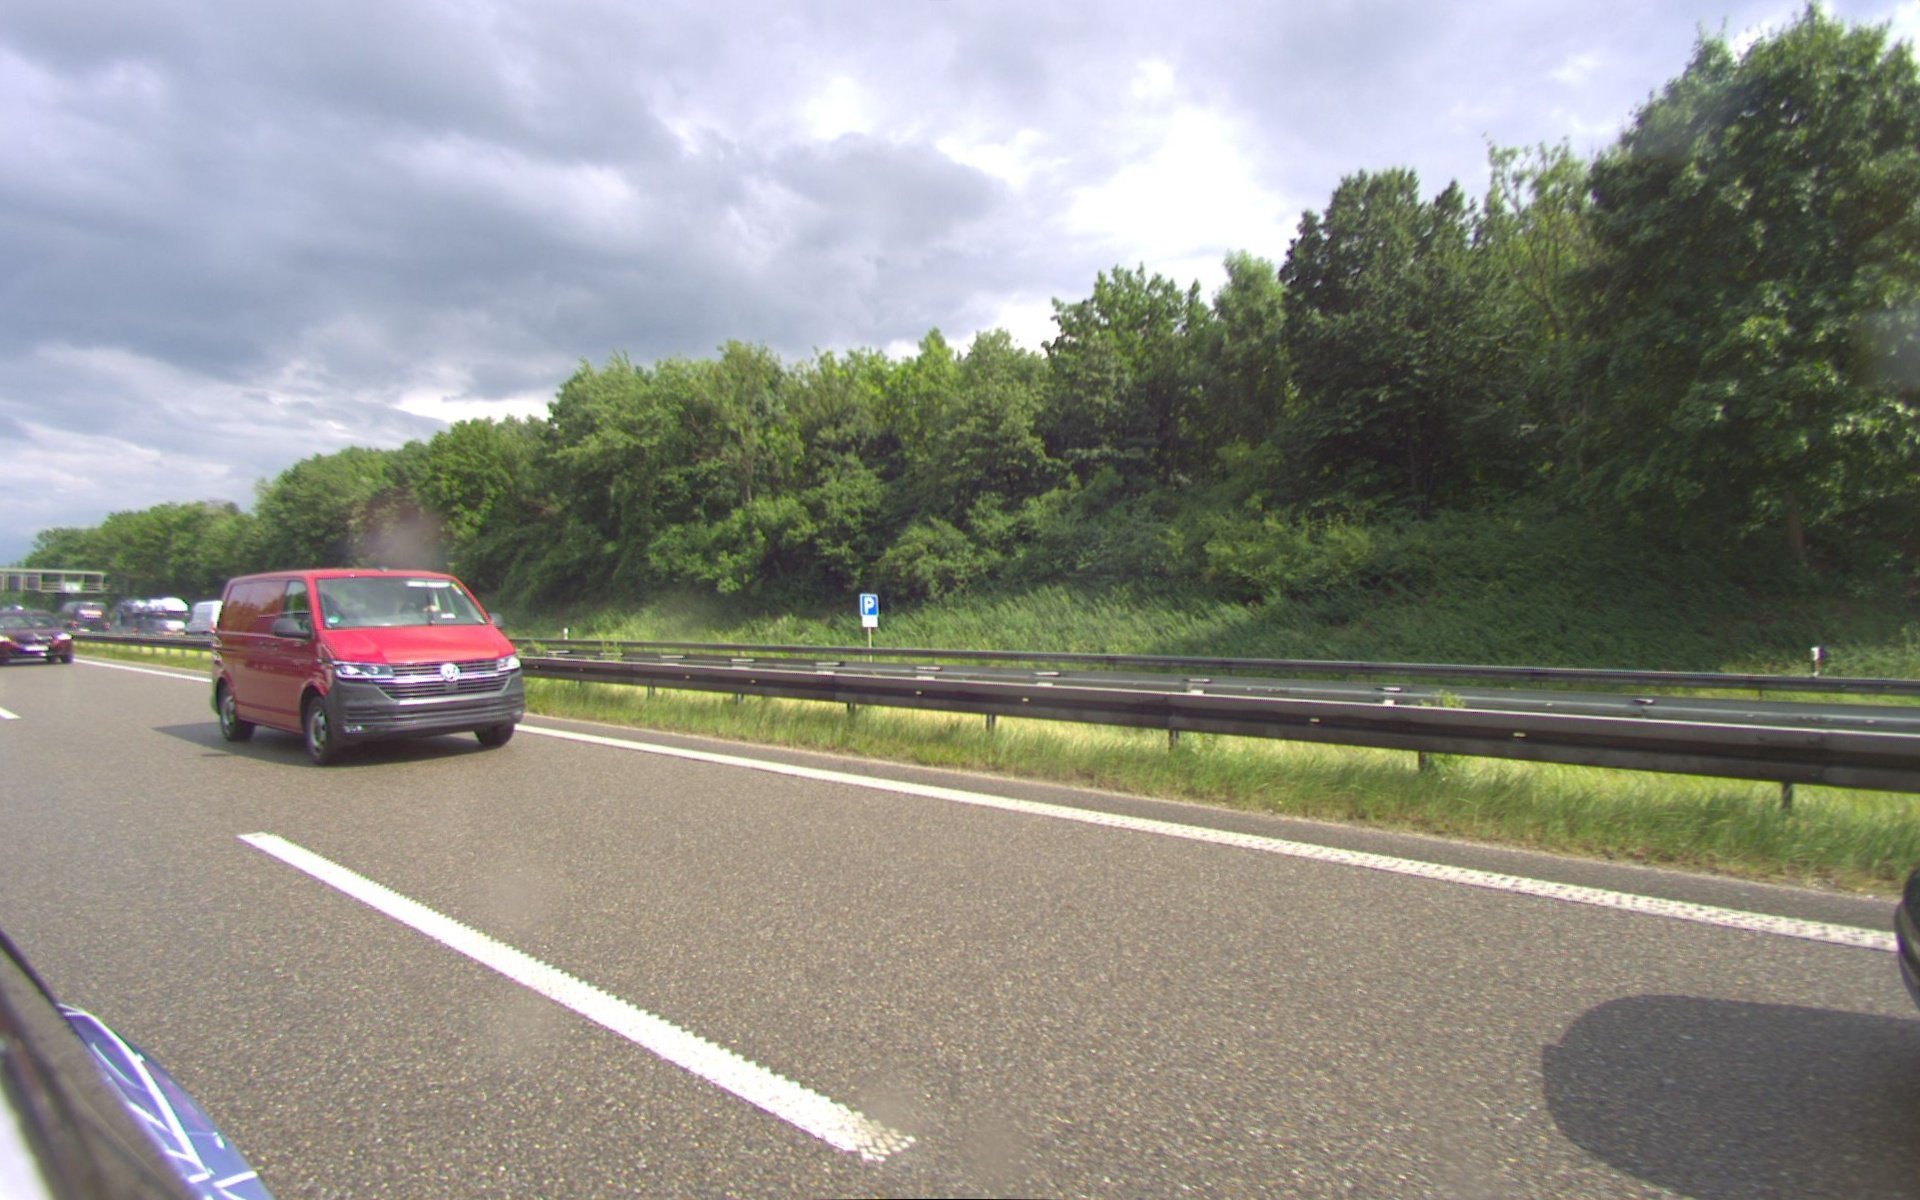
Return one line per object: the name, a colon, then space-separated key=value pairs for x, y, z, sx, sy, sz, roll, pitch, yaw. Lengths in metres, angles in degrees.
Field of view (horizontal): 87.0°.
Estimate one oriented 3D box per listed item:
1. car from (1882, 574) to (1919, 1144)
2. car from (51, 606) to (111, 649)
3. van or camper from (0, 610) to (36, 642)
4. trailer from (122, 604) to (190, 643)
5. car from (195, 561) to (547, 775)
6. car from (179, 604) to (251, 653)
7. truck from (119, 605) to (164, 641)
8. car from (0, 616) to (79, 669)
car: x=4.469 y=0.619 z=1.249 sx=4.836 sy=1.429 sz=1.776 roll=-1 pitch=0 yaw=41
car: x=-62.308 y=1.940 z=71.709 sx=6.886 sy=2.892 sz=2.239 roll=-1 pitch=0 yaw=41
van or camper: x=-88.531 y=2.421 z=94.686 sx=6.835 sy=2.892 sz=2.239 roll=-1 pitch=0 yaw=41
trailer: x=-85.467 y=2.415 z=107.335 sx=17.951 sy=3.860 sz=2.958 roll=-1 pitch=0 yaw=43
car: x=-6.663 y=0.614 z=11.192 sx=4.836 sy=1.880 sz=1.902 roll=-1 pitch=0 yaw=41
car: x=-47.235 y=1.770 z=64.128 sx=6.785 sy=2.892 sz=2.239 roll=-1 pitch=0 yaw=41
truck: x=-91.218 y=2.504 z=112.711 sx=6.864 sy=3.860 sz=2.958 roll=-1 pitch=0 yaw=43
car: x=-29.068 y=1.270 z=31.385 sx=4.836 sy=1.508 sz=1.983 roll=-1 pitch=0 yaw=41
